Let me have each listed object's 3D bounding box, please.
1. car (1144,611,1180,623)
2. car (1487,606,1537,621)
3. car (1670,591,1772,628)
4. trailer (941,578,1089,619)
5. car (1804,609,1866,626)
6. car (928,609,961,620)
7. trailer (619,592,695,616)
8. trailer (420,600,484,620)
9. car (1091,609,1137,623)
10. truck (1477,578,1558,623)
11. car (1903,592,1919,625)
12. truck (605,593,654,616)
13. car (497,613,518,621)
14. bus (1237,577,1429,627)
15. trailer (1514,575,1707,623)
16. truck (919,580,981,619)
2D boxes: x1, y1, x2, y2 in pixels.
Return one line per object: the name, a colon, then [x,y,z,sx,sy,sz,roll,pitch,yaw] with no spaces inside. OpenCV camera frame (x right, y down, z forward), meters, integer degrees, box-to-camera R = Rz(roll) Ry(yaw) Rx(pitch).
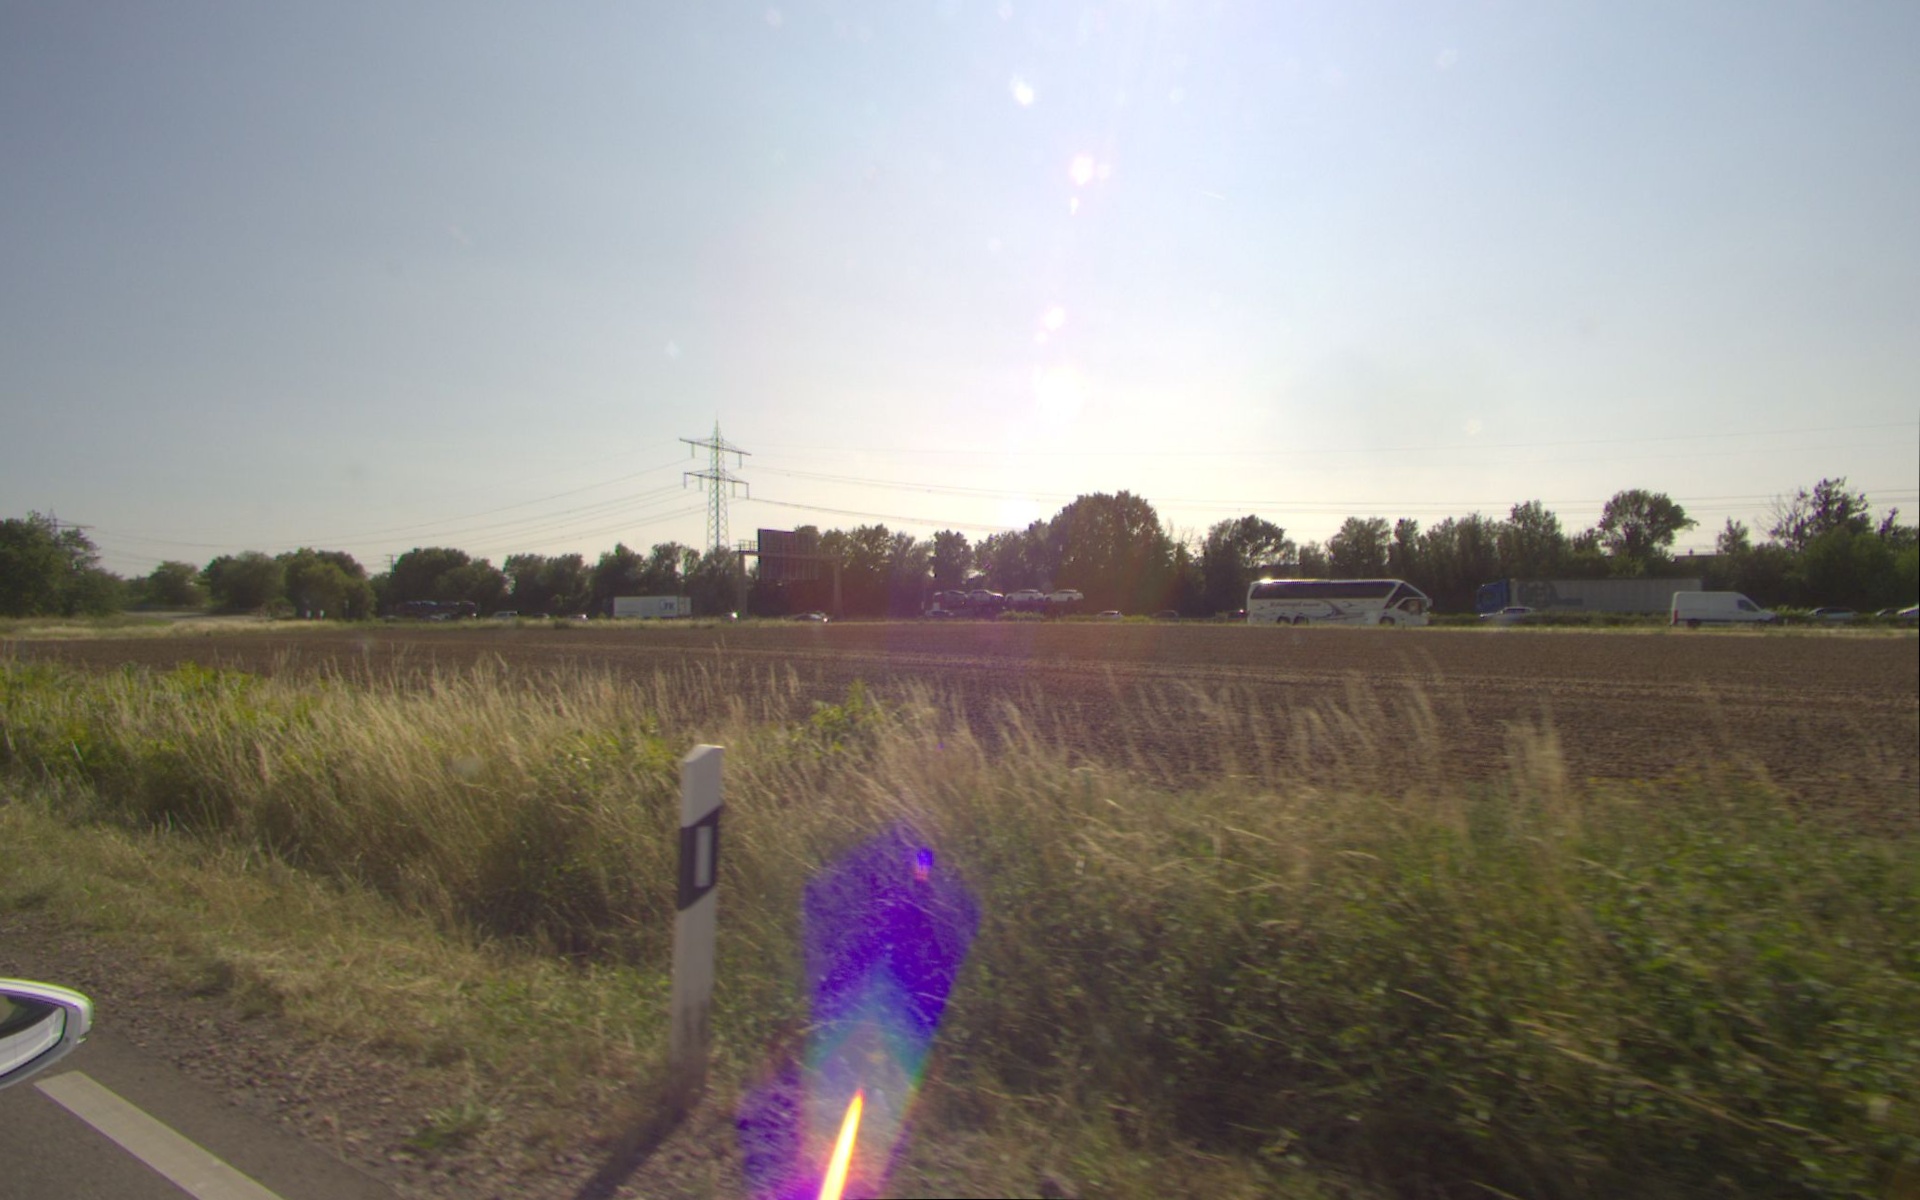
car: [21.241,1.764,105.255,3.528,1.166,1.393,0,-1,30]
car: [45.395,1.125,82.343,3.531,1.166,1.392,0,-1,33]
car: [52.534,0.689,69.323,5.442,2.402,1.990,0,-2,32]
trailer: [6.117,-0.080,115.144,17.303,4.512,3.415,-1,0,30]
car: [62.643,1.247,71.725,3.135,1.166,1.392,0,-1,32]
car: [-1.758,1.572,111.602,3.528,1.166,1.393,0,-1,30]
trailer: [-44.479,0.615,146.845,12.274,3.310,3.278,-1,0,31]
trailer: [-87.078,1.636,171.632,13.255,3.310,3.279,0,0,31]
car: [15.611,1.604,101.403,4.186,1.403,1.848,0,-1,32]
truck: [49.100,0.067,88.184,6.002,3.782,3.065,0,0,34]
car: [68.210,0.604,68.444,5.162,2.228,1.902,0,-1,32]
truck: [-49.512,0.677,149.872,6.877,3.310,3.278,-1,0,31]
car: [-69.081,2.546,152.794,3.135,1.166,1.392,0,-1,32]
bus: [29.866,0.157,80.845,14.329,3.854,2.459,0,0,30]
trailer: [54.553,0.004,84.540,13.440,3.782,3.064,0,-1,34]
truck: [-1.183,0.012,119.441,6.606,4.512,3.416,-1,0,30]
